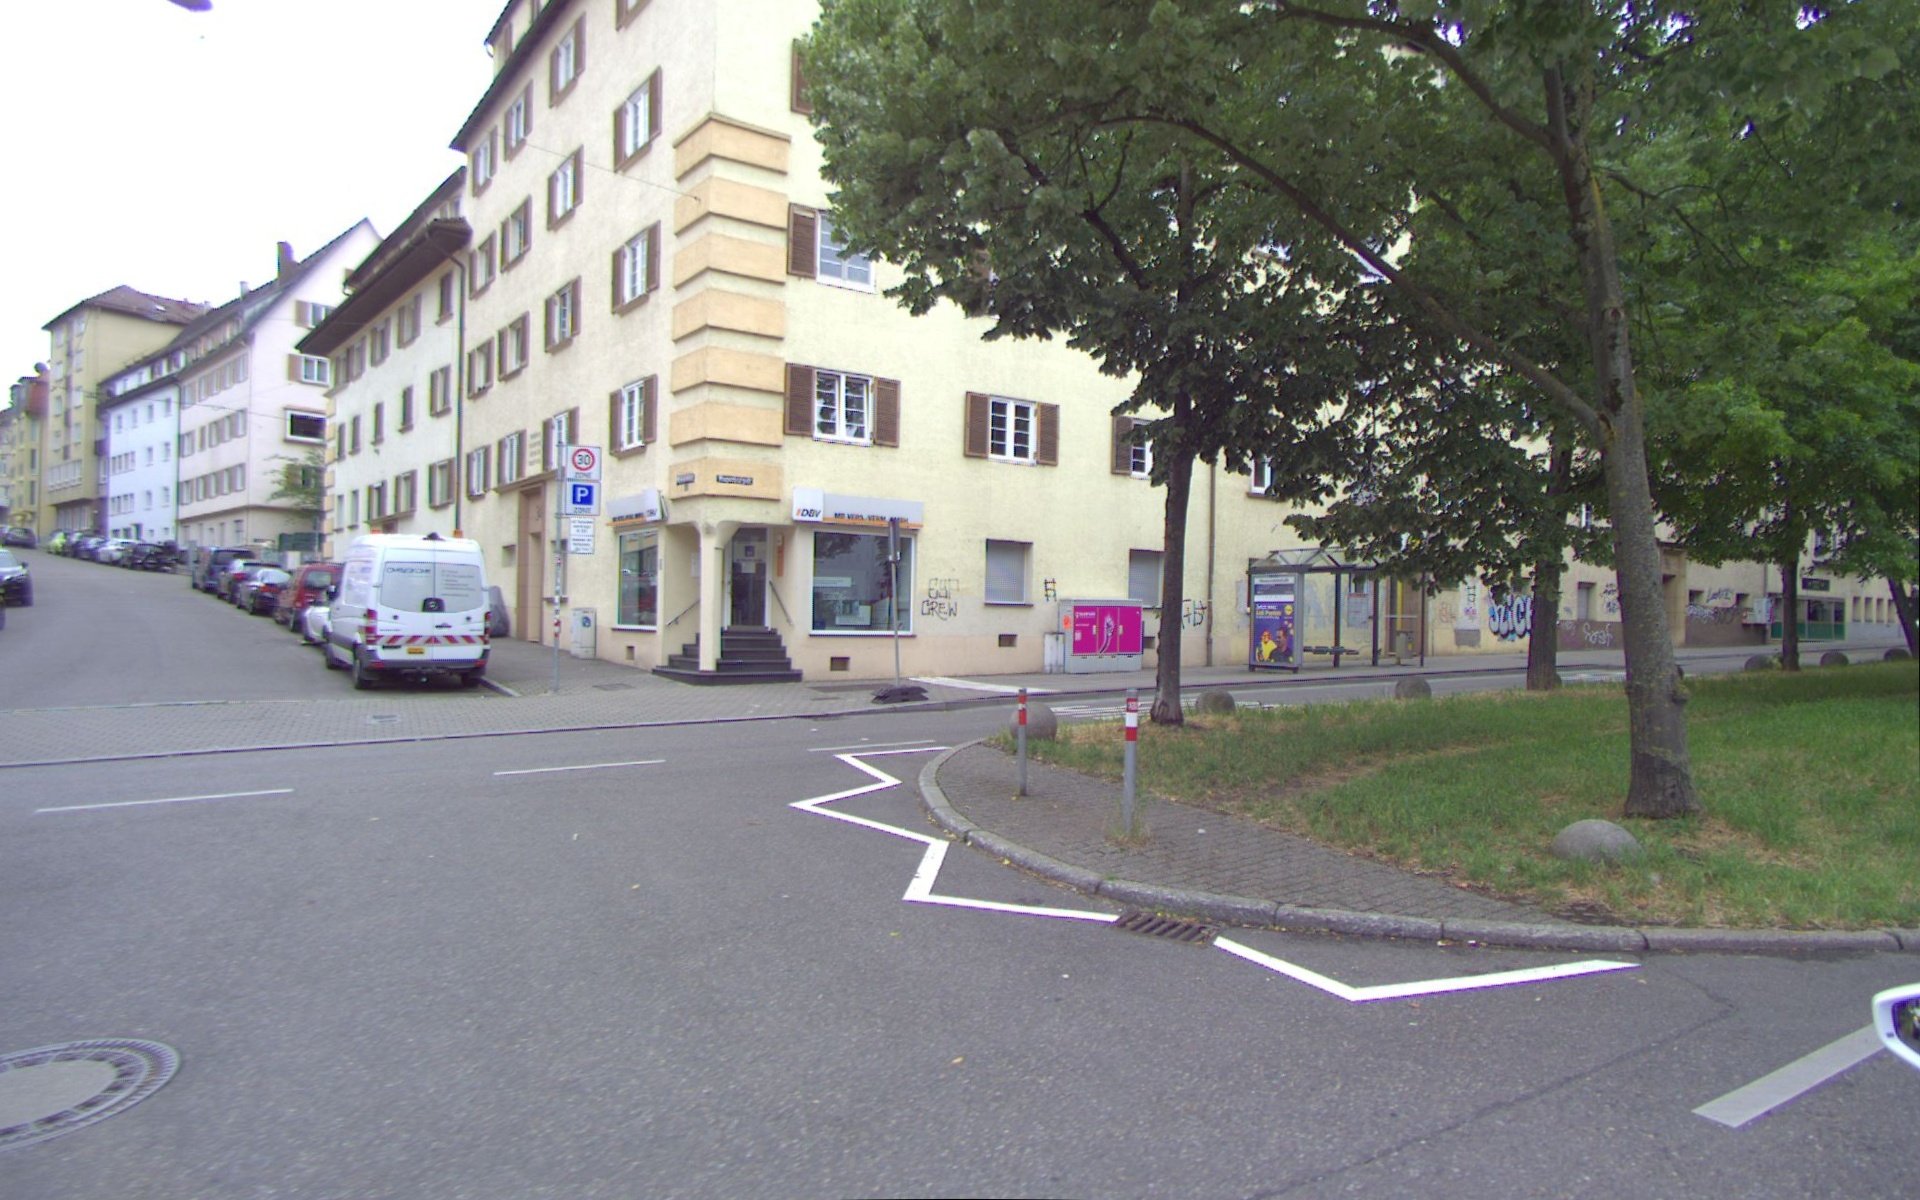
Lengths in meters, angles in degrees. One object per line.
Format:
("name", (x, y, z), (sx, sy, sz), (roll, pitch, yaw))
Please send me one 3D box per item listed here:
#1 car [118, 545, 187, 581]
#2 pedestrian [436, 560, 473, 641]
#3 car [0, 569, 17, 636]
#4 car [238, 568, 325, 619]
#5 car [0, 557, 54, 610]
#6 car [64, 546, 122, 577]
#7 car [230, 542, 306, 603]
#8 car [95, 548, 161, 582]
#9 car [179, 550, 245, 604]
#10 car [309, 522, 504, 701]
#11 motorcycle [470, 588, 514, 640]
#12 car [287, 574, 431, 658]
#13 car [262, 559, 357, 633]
("car", (-42.977, -1.970, 53.423), (3.936, 1.802, 1.992), (2, 1, 38))
("pedestrian", (-13.075, 0.004, 25.982), (0.809, 2.041, 0.808), (-1, 1, -31))
("car", (-22.103, 0.135, 21.580), (1.882, 1.439, 4.008), (0, 4, -31))
("car", (-21.257, -0.233, 31.416), (1.982, 1.484, 3.955), (0, 1, -38))
("car", (-27.848, -0.494, 29.024), (1.980, 1.461, 3.960), (0, 2, -35))
("car", (-53.850, -2.380, 62.401), (3.936, 1.802, 1.992), (2, 1, 38))
("car", (-24.623, -0.956, 35.710), (1.982, 2.041, 3.955), (0, 1, -38))
("car", (-46.435, -1.962, 56.043), (3.936, 1.802, 1.992), (2, 1, 38))
("car", (-29.527, -0.889, 39.768), (1.980, 2.041, 3.960), (0, 1, -35))
("car", (-10.455, 0.036, 18.744), (2.160, 2.773, 5.126), (0, 5, -41))
("motorcycle", (-12.723, 0.357, 27.302), (0.678, 1.352, 1.844), (-1, 1, -38))
("car", (-13.899, 0.285, 23.105), (1.985, 1.658, 4.712), (0, 2, -42))
("car", (-17.597, -0.142, 27.096), (1.791, 1.848, 3.955), (0, 1, -38))
